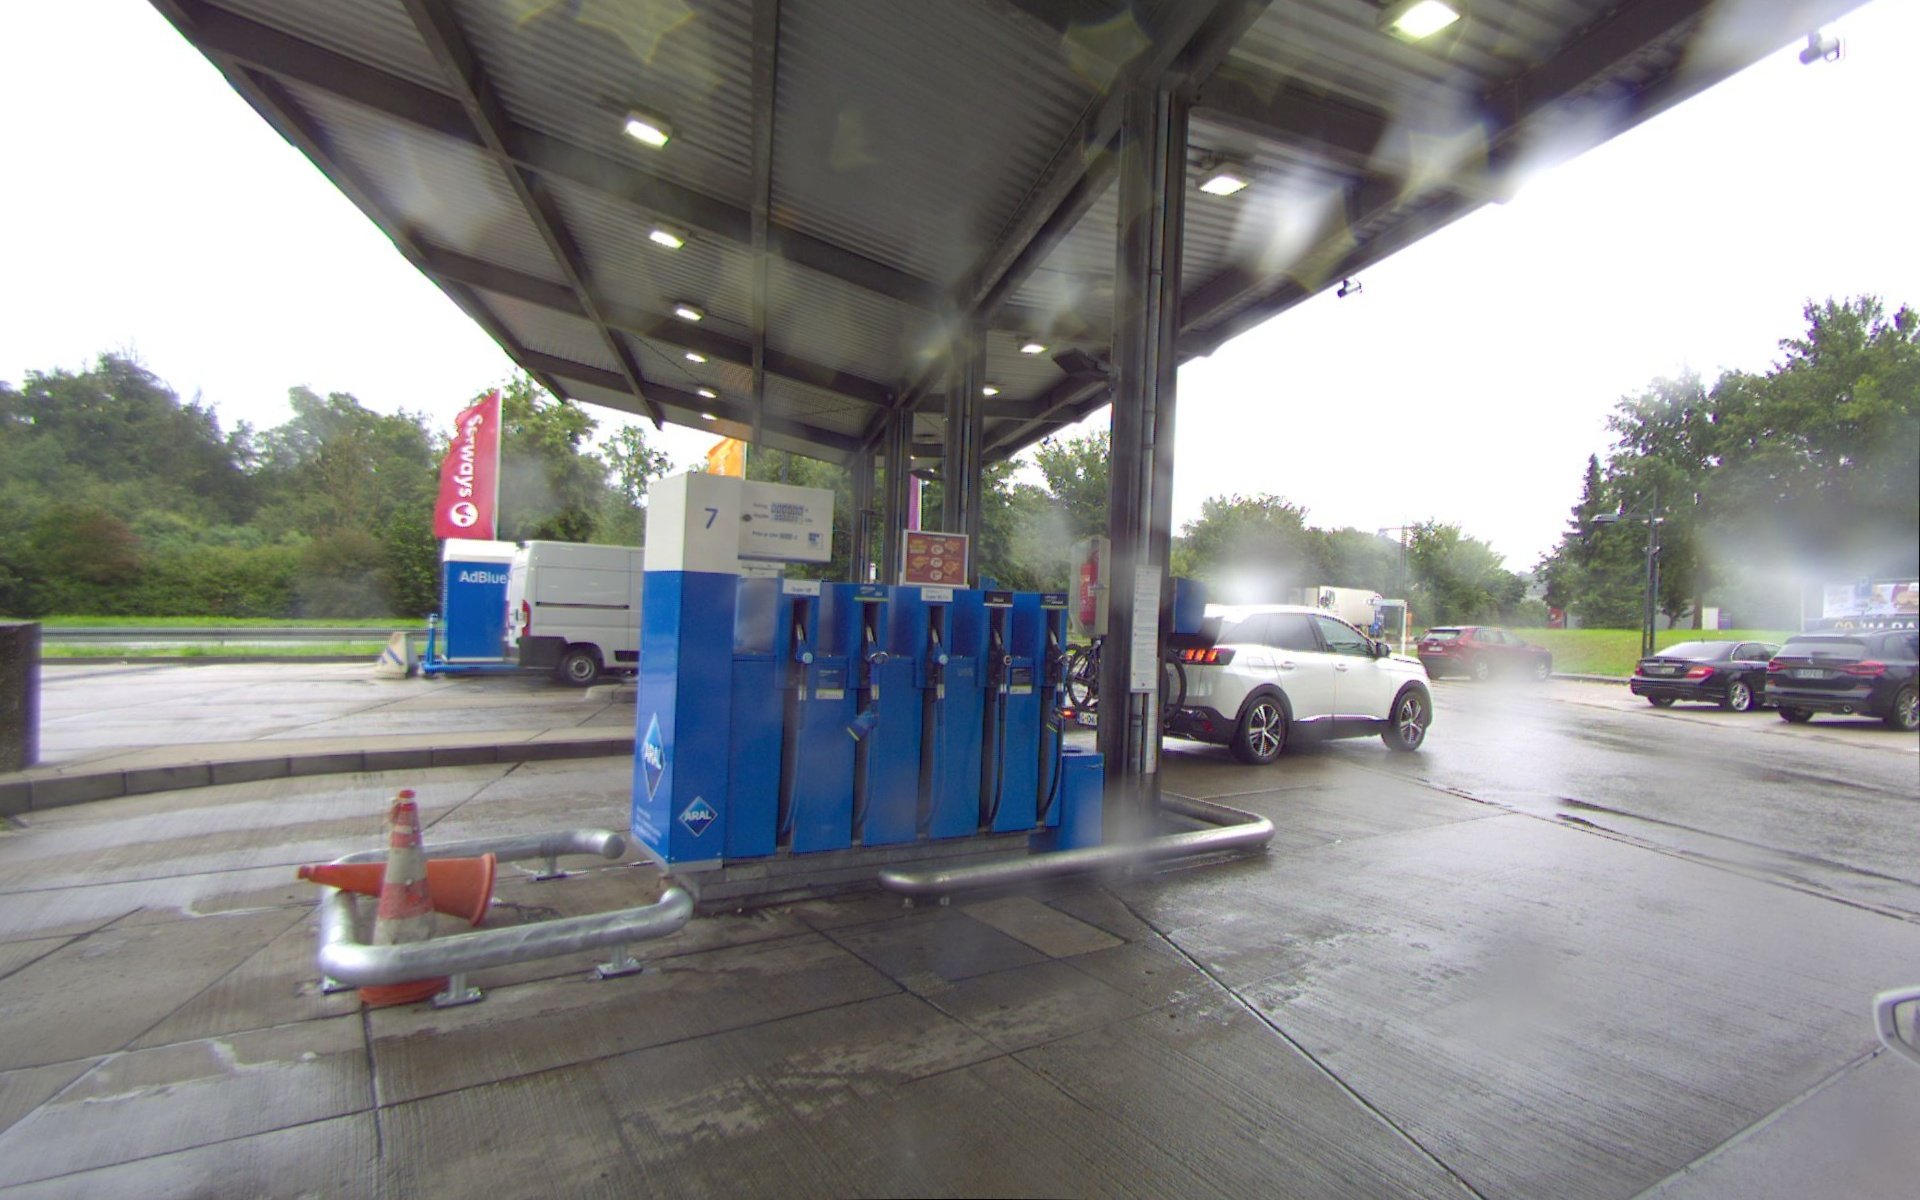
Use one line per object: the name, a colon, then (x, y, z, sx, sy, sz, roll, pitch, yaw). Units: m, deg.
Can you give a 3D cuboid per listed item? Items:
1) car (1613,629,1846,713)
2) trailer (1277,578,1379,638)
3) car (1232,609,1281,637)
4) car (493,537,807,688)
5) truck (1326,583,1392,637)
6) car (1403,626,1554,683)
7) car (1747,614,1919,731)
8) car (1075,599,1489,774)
car: (15.936, 1.422, 20.827, 4.119, 1.585, 1.883, 1, -1, -19)
trailer: (30.911, 0.765, 83.859, 3.416, 4.618, 13.847, 2, 0, 40)
car: (20.944, 1.616, 70.885, 1.903, 1.862, 4.373, 1, 0, 38)
car: (-5.771, 0.271, 18.953, 5.227, 2.496, 2.306, 1, -1, -34)
truck: (35.584, 0.935, 89.463, 3.416, 4.618, 6.704, 2, 0, 40)
car: (15.999, 1.651, 30.973, 4.294, 1.617, 1.879, 1, -1, -24)
car: (16.149, 1.193, 17.408, 4.344, 1.852, 1.883, 1, -1, -19)
car: (3.780, 0.845, 11.372, 4.953, 1.586, 1.802, 1, 0, -35)
